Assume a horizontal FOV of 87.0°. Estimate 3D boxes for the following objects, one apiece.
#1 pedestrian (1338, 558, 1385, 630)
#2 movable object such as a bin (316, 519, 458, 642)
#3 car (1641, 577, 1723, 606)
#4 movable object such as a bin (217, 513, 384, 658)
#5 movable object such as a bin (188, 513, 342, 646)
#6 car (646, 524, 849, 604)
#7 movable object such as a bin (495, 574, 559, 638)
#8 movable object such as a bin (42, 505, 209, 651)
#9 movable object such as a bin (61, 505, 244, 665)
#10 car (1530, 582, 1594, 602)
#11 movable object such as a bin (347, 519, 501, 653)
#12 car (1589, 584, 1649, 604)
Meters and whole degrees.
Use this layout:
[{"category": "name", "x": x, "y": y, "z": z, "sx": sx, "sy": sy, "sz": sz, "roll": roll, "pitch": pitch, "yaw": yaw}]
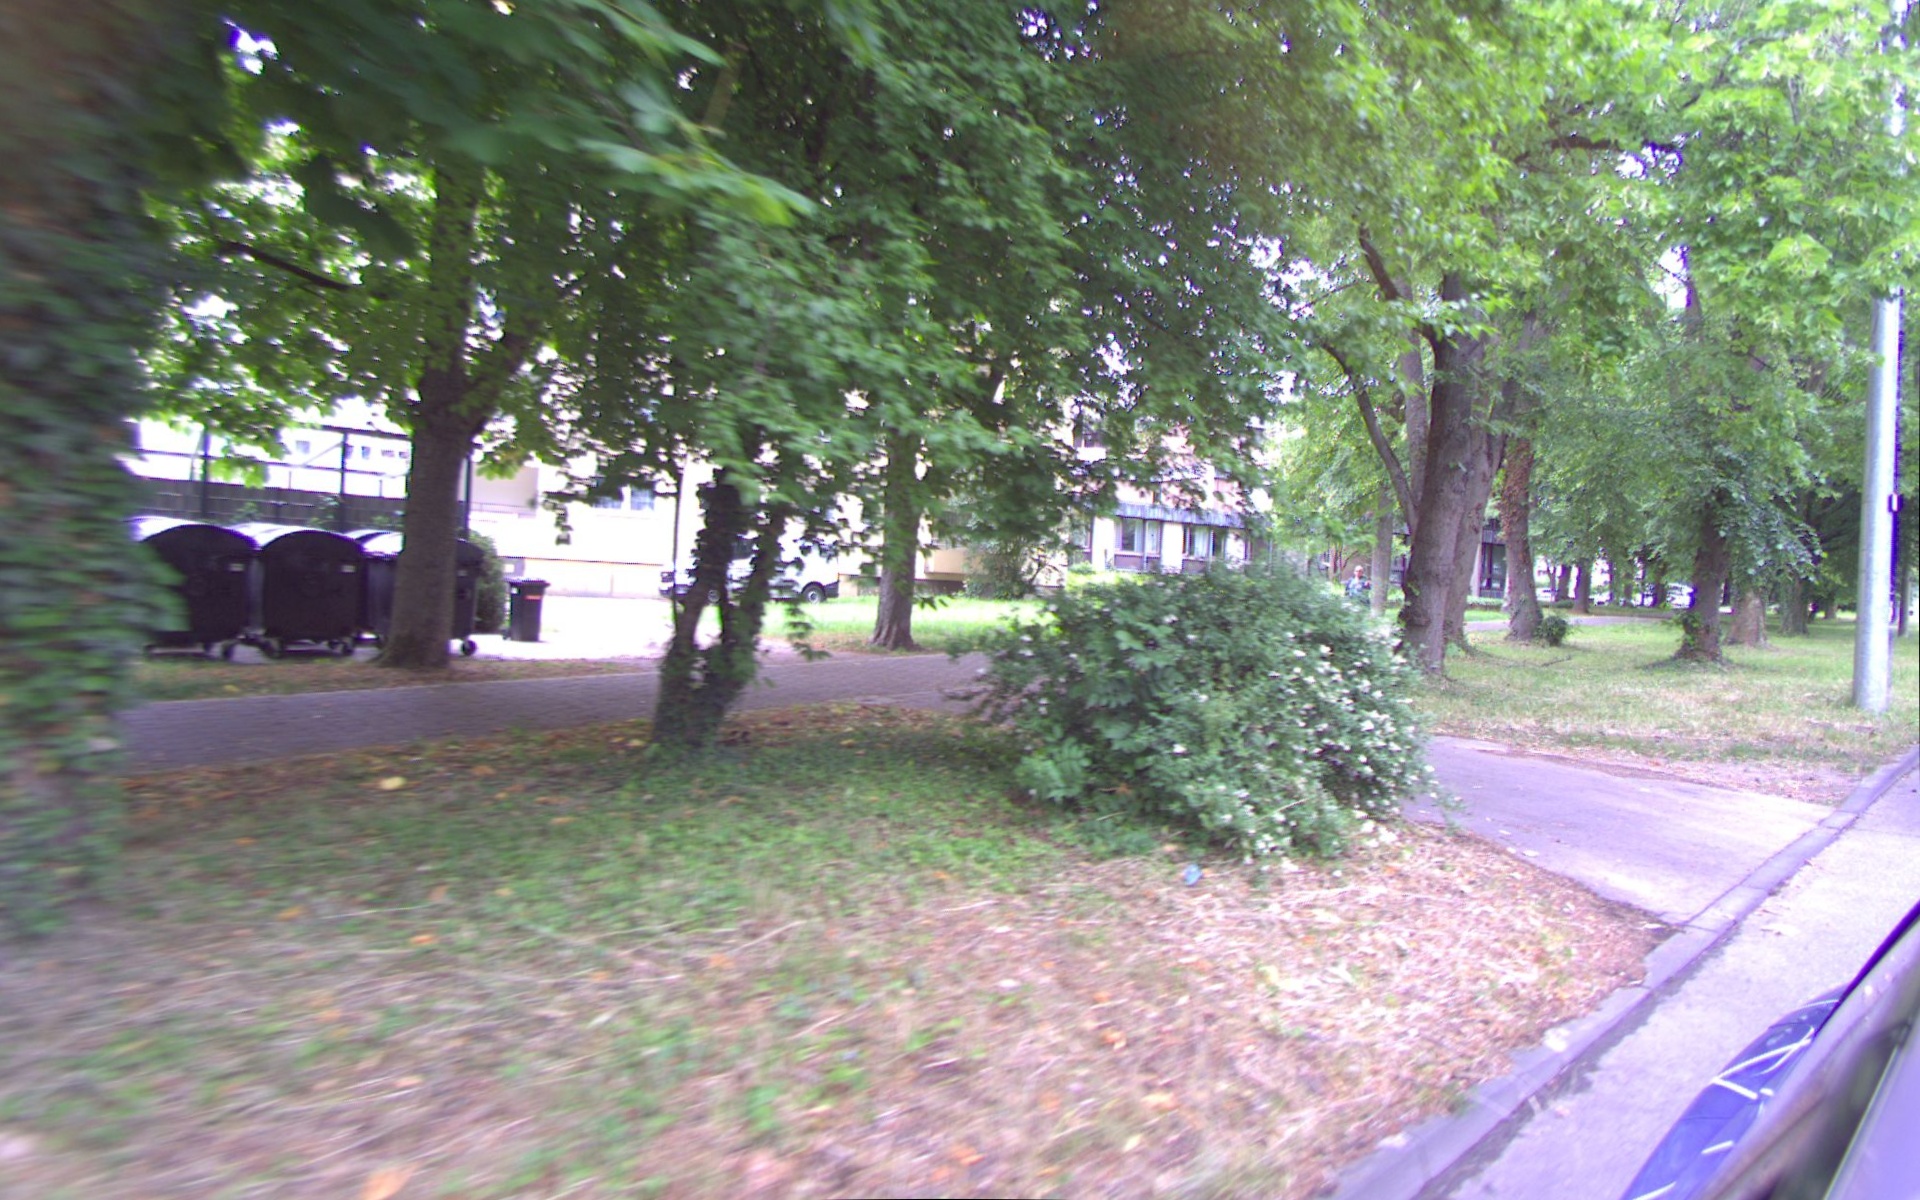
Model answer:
[{"category": "pedestrian", "x": 9.922, "y": -0.157, "z": 25.028, "sx": 0.768, "sy": 1.707, "sz": 0.801, "roll": 4, "pitch": 3, "yaw": 44}, {"category": "movable object such as a bin", "x": -7.642, "y": -0.274, "z": 13.501, "sx": 1.326, "sy": 1.519, "sz": 1.294, "roll": 4, "pitch": 3, "yaw": 43}, {"category": "car", "x": 63.031, "y": -0.733, "z": 88.446, "sx": 5.241, "sy": 2.327, "sz": 2.286, "roll": 2, "pitch": 1, "yaw": 10}, {"category": "movable object such as a bin", "x": -7.499, "y": -0.189, "z": 11.514, "sx": 1.326, "sy": 1.519, "sz": 1.294, "roll": 4, "pitch": 3, "yaw": 43}, {"category": "movable object such as a bin", "x": -8.586, "y": -0.271, "z": 12.497, "sx": 1.326, "sy": 1.519, "sz": 1.294, "roll": 4, "pitch": 3, "yaw": 43}, {"category": "car", "x": -5.677, "y": -0.952, "z": 27.348, "sx": 4.874, "sy": 1.865, "sz": 2.093, "roll": 2, "pitch": 2, "yaw": -37}, {"category": "movable object such as a bin", "x": -6.352, "y": 0.081, "z": 14.846, "sx": 0.598, "sy": 0.889, "sz": 0.658, "roll": 4, "pitch": 3, "yaw": 43}, {"category": "movable object such as a bin", "x": -9.493, "y": -0.272, "z": 11.507, "sx": 1.326, "sy": 1.519, "sz": 1.294, "roll": 4, "pitch": 3, "yaw": 43}, {"category": "movable object such as a bin", "x": -8.386, "y": -0.182, "z": 10.509, "sx": 1.326, "sy": 1.519, "sz": 1.294, "roll": 4, "pitch": 3, "yaw": 43}, {"category": "car", "x": 52.928, "y": -0.727, "z": 88.946, "sx": 4.514, "sy": 1.529, "sz": 1.801, "roll": 2, "pitch": 1, "yaw": -2}, {"category": "movable object such as a bin", "x": -6.615, "y": -0.193, "z": 12.485, "sx": 1.326, "sy": 1.519, "sz": 1.294, "roll": 4, "pitch": 3, "yaw": 43}, {"category": "car", "x": 57.868, "y": -0.544, "z": 88.940, "sx": 3.928, "sy": 1.529, "sz": 1.799, "roll": 2, "pitch": 1, "yaw": 4}]
